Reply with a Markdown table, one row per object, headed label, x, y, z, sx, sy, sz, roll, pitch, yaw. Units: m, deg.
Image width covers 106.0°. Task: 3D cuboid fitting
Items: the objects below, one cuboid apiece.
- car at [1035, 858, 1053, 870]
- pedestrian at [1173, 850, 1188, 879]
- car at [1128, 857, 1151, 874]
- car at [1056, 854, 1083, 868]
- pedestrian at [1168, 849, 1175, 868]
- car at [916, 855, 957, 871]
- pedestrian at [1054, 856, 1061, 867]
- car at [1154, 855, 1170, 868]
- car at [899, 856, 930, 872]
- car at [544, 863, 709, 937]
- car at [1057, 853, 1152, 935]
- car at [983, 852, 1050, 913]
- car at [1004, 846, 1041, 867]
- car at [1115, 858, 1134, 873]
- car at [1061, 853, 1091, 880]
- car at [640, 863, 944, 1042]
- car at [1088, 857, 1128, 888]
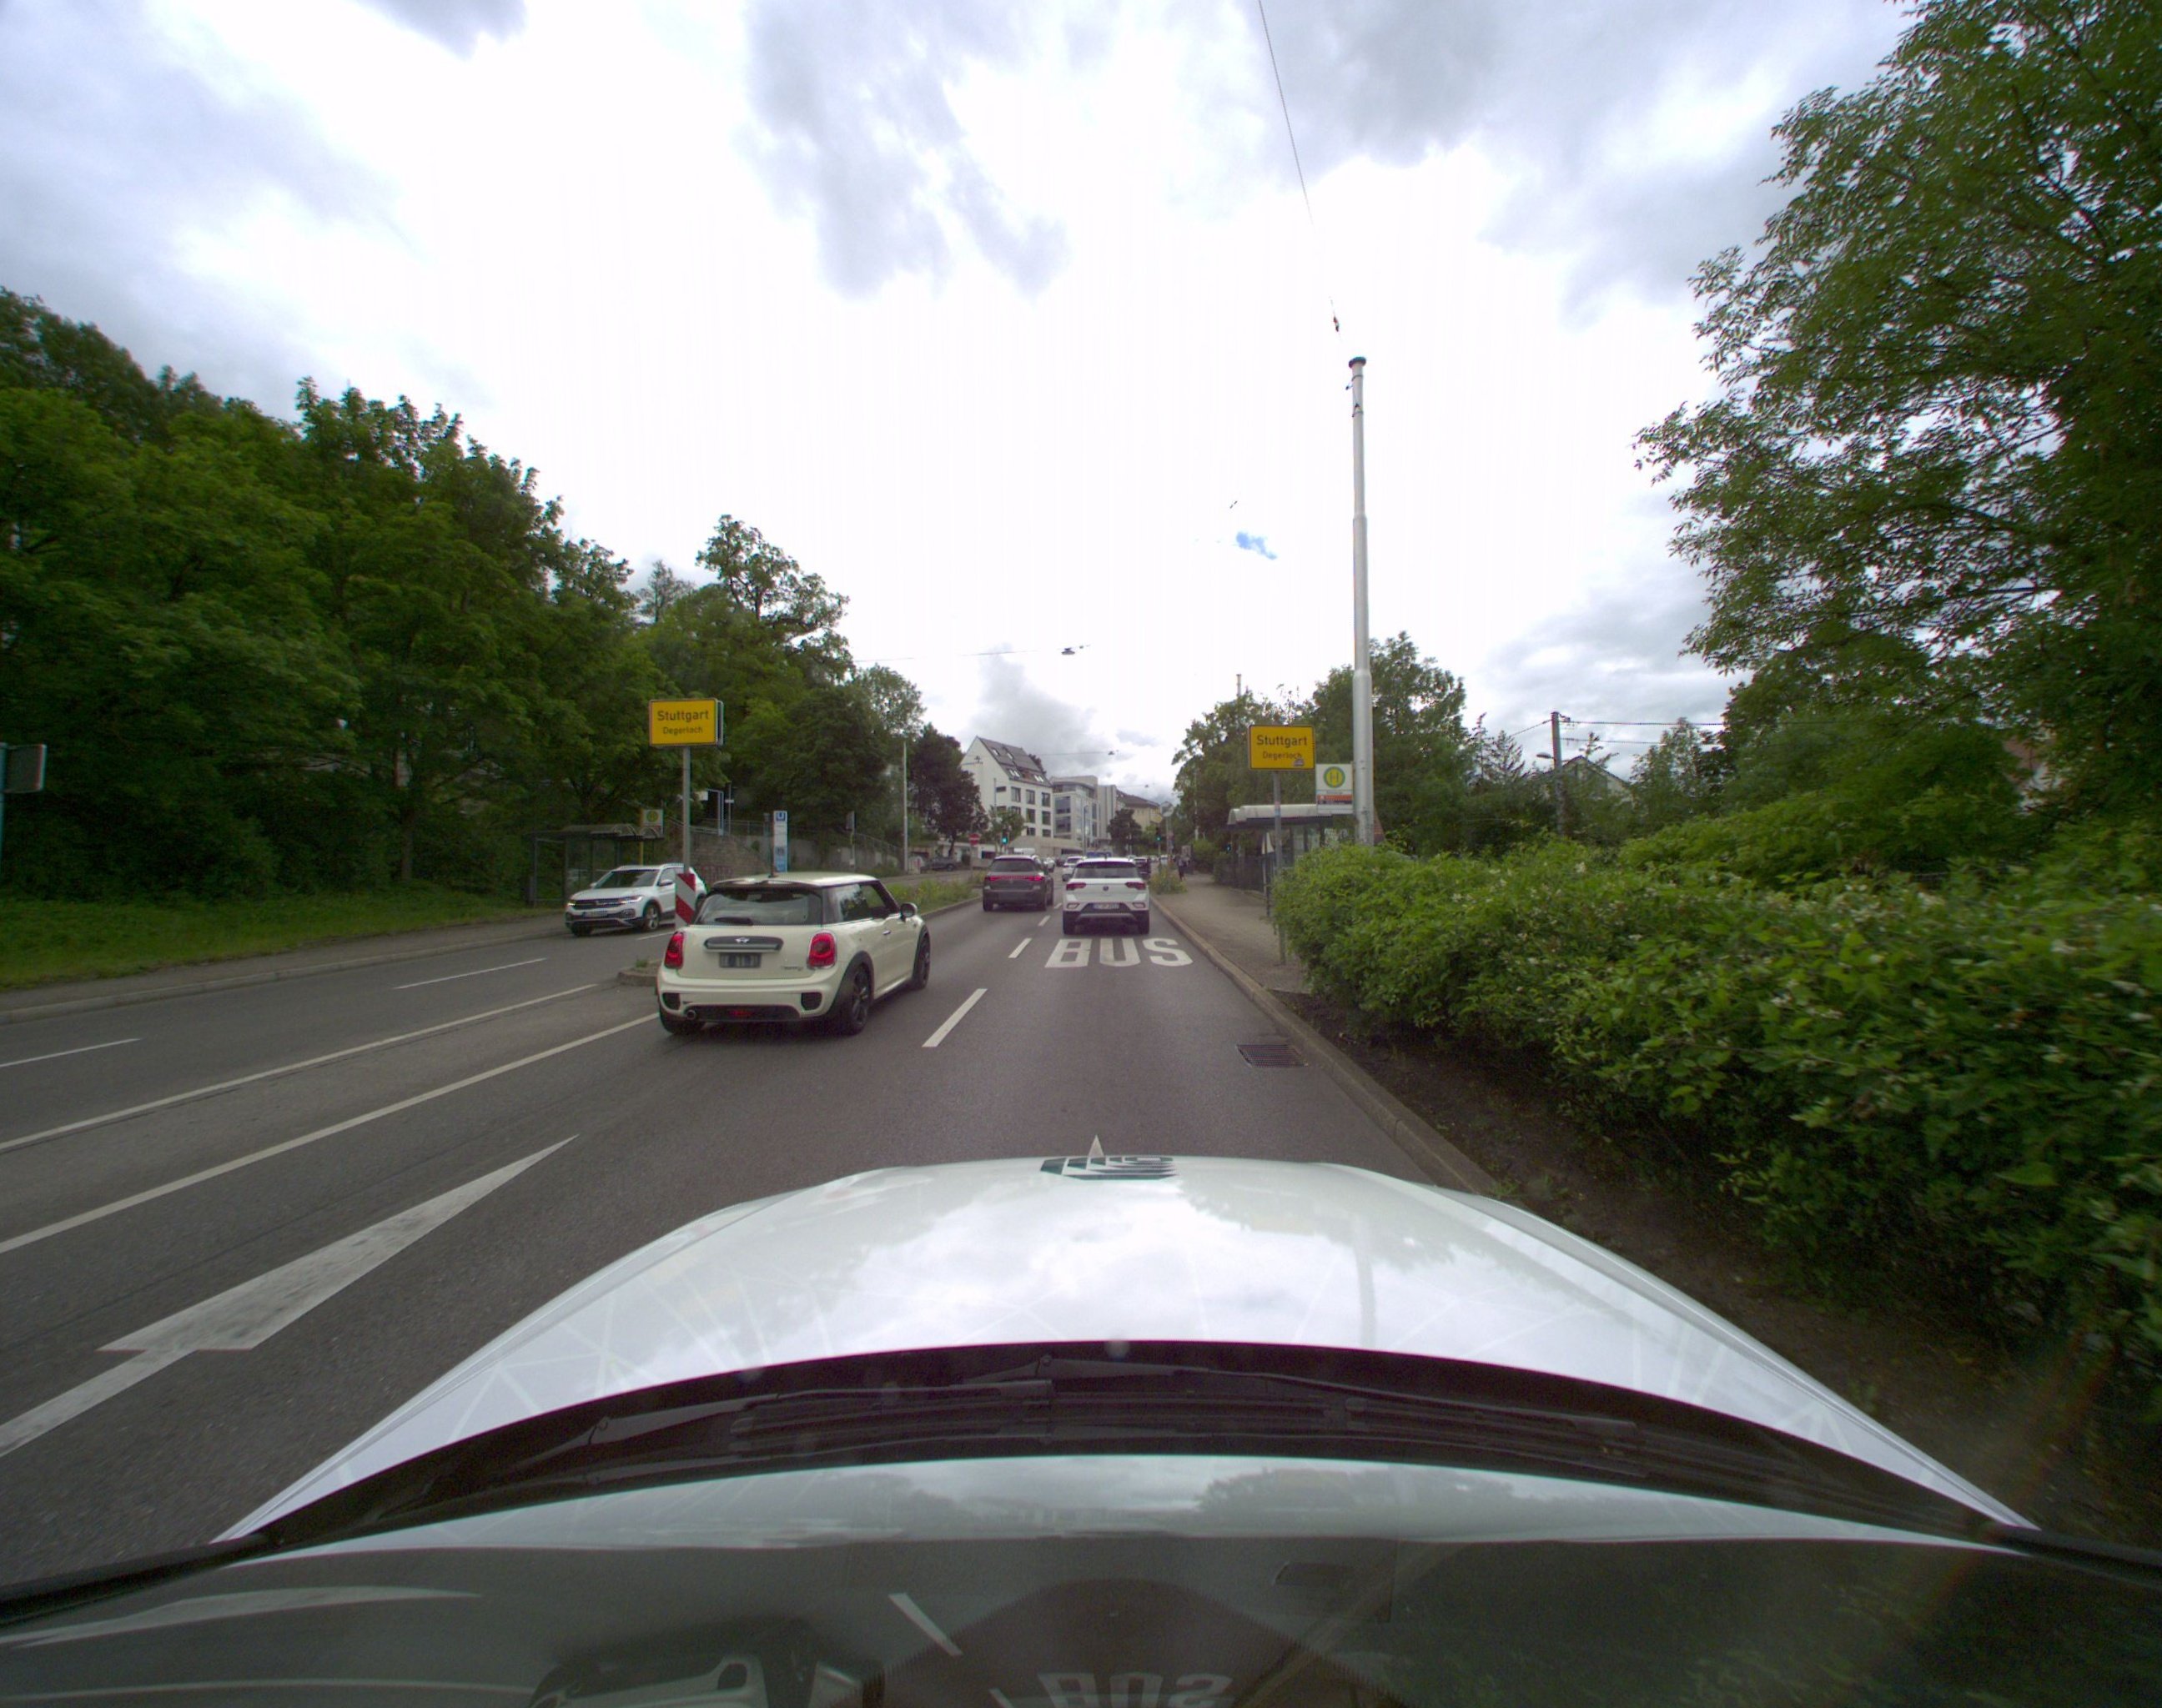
| label | x | y | z | sx | sy | sz | roll | pitch | yaw |
| --- | --- | --- | --- | --- | --- | --- | --- | --- | --- |
| car | -4.373 | 1.181 | 96.244 | 1.711 | 1.393 | 4.611 | -1 | 0 | 2 |
| pedestrian | 5.806 | 0.610 | 47.461 | 0.687 | 1.689 | 0.623 | -3 | -2 | 23 |
| car | 5.360 | 1.038 | 74.903 | 1.866 | 1.501 | 4.556 | 2 | 0 | 1 |
| car | -1.670 | 1.033 | 119.685 | 1.965 | 1.967 | 5.246 | -1 | 0 | 23 |
| pedestrian | 8.729 | 0.393 | 78.554 | 0.689 | 1.834 | 0.621 | 0 | -1 | 9 |
| car | -14.878 | 0.907 | 84.134 | 4.121 | 1.540 | 1.593 | -1 | 0 | -11 |
| pedestrian | -3.457 | 1.129 | 120.502 | 0.678 | 1.640 | 0.665 | 1 | 0 | -31 |
| car | 9.735 | 0.891 | 98.412 | 1.849 | 1.500 | 4.061 | -2 | 0 | 5 |
| car | -16.241 | 0.993 | 79.396 | 2.712 | 1.520 | 1.552 | 2 | -2 | -22 |
| car | -10.649 | 1.000 | 19.451 | 1.724 | 1.541 | 4.041 | 0 | 0 | -2 |
| car | 0.474 | 0.785 | 17.728 | 1.805 | 1.539 | 3.689 | -2 | 0 | 0 |
| car | -1.883 | 0.813 | 25.067 | 1.808 | 1.652 | 4.632 | -2 | 0 | -2 |
| car | -7.591 | 0.317 | 106.786 | 2.214 | 2.568 | 7.456 | -1 | 0 | 18 |
| car | 4.409 | 1.159 | 83.271 | 1.850 | 1.500 | 4.059 | -2 | 0 | 3 |
| car | -0.276 | 0.816 | 54.762 | 1.851 | 1.652 | 4.637 | -2 | 0 | 1 |
| car | -2.674 | 0.828 | 8.436 | 1.620 | 1.393 | 3.570 | -2 | 0 | 4 |
| car | 1.384 | 0.946 | 43.198 | 1.867 | 1.501 | 4.553 | 2 | 0 | -1 |
